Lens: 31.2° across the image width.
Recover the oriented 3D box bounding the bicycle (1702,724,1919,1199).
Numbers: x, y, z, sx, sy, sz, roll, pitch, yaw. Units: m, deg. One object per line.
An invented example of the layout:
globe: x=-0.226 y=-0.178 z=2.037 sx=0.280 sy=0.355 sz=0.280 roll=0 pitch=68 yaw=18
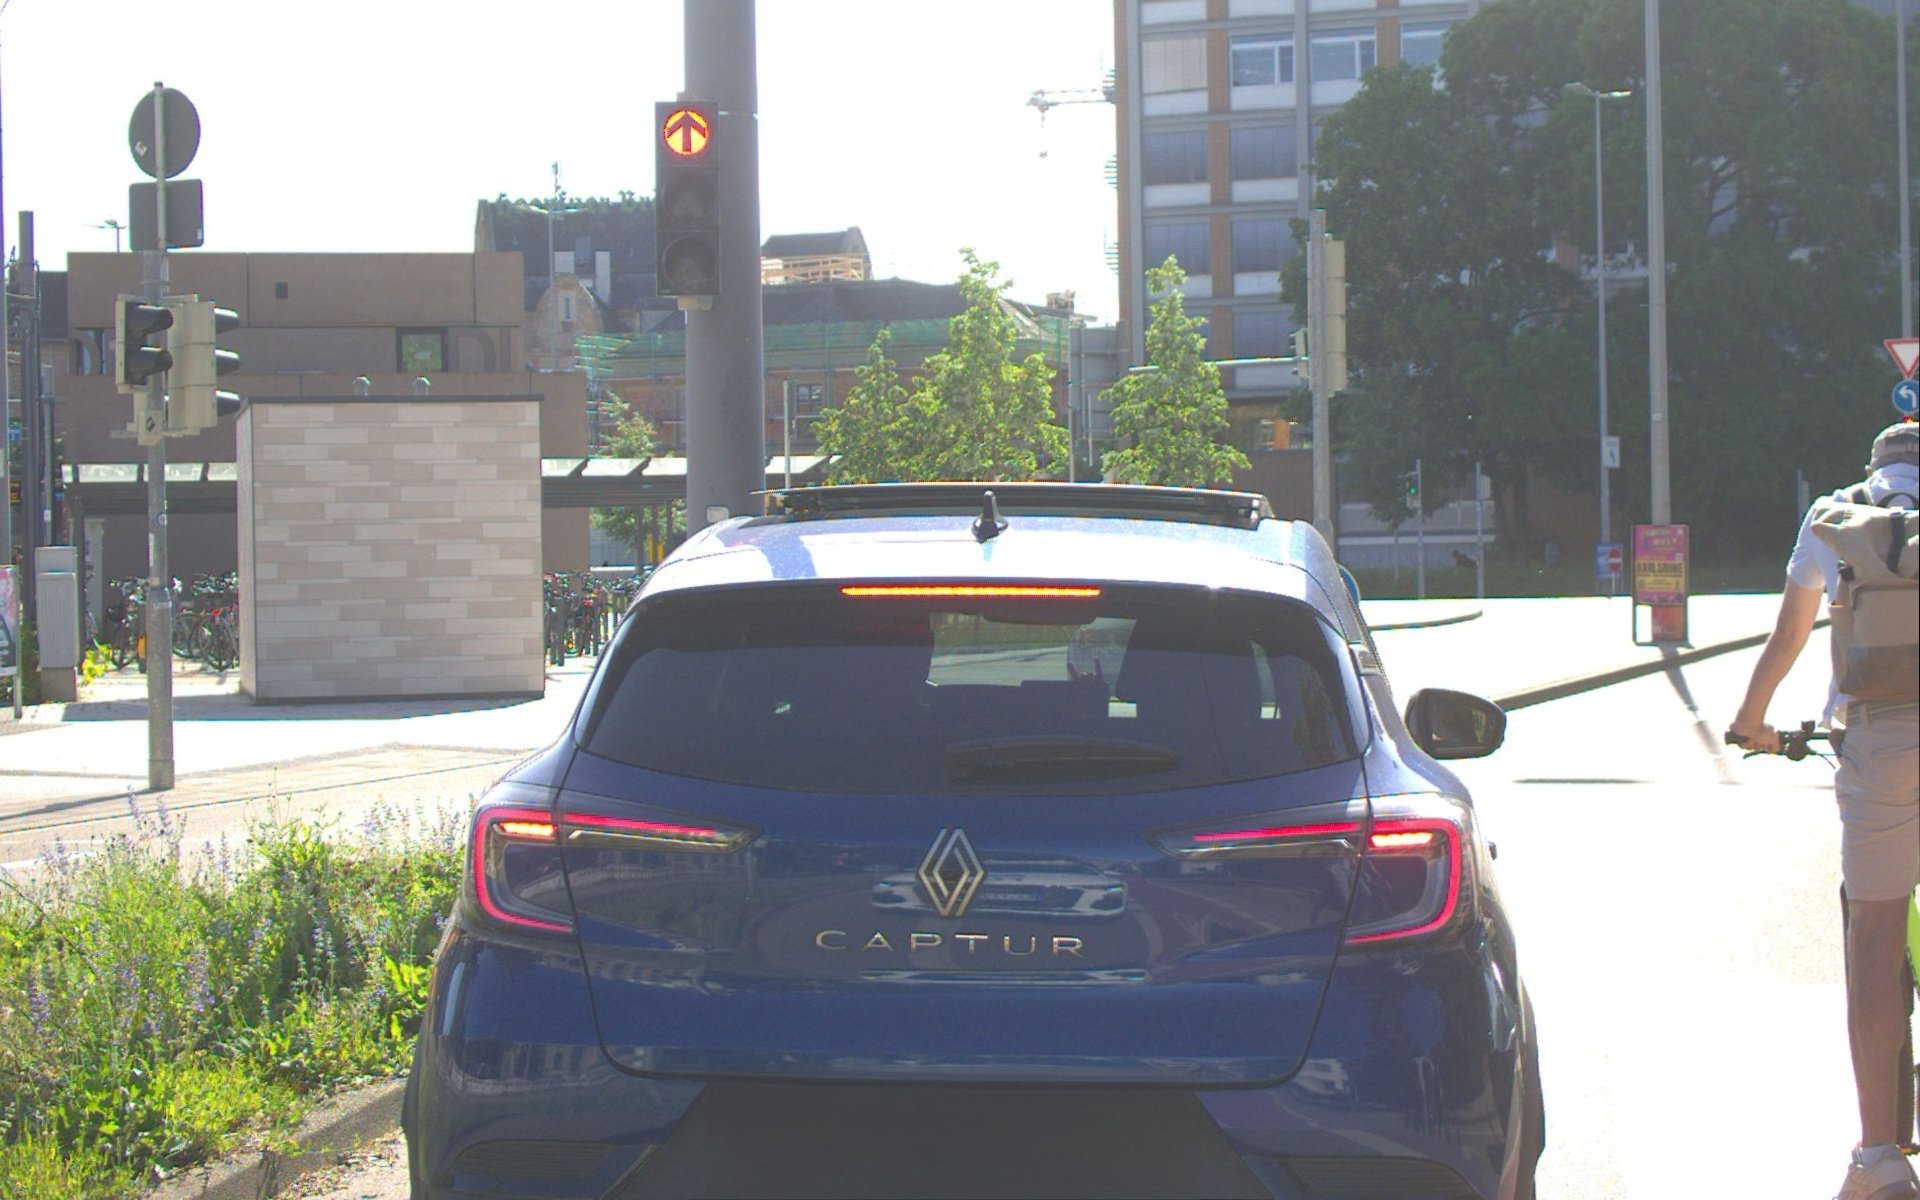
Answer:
bicycle: x=2.087 y=0.848 z=7.644 sx=0.663 sy=1.043 sz=1.890 roll=0 pitch=1 yaw=6

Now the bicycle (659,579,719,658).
bicycle: x=-3.412 y=0.229 z=43.124 sx=0.580 sy=0.958 sz=2.059 roll=0 pitch=0 yaw=-9

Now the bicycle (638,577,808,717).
bicycle: x=-1.912 y=0.362 z=28.060 sx=0.773 sy=1.077 sz=2.034 roll=-1 pitch=0 yaw=14

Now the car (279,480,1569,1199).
car: x=0.095 y=0.604 z=6.687 sx=1.823 sy=1.594 sz=3.658 roll=1 pitch=1 yaw=5

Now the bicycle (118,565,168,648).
bicycle: x=-10.906 y=0.092 z=45.911 sx=0.565 sy=1.090 sz=2.030 roll=0 pitch=0 yaw=-11

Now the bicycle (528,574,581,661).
bicycle: x=-5.040 y=0.222 z=42.662 sx=0.580 sy=1.054 sz=1.817 roll=0 pitch=0 yaw=-9

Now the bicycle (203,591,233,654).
bicycle: x=-11.356 y=0.344 z=52.656 sx=0.421 sy=0.934 sz=1.379 roll=1 pitch=0 yaw=-11

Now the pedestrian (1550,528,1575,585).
pedestrian: x=17.861 y=-1.284 z=101.956 sx=0.561 sy=1.664 sz=0.475 roll=0 pitch=-1 yaw=37

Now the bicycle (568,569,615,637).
bicycle: x=-6.027 y=0.050 z=56.170 sx=0.580 sy=1.084 sz=1.872 roll=0 pitch=0 yaw=-11

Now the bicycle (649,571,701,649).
bicycle: x=-4.054 y=0.141 z=48.768 sx=0.580 sy=1.084 sz=2.059 roll=0 pitch=0 yaw=-9

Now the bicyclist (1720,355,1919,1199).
bicyclist: x=2.073 y=0.358 z=7.586 sx=0.664 sy=1.741 sz=1.005 roll=0 pitch=1 yaw=7

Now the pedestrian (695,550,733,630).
pedestrian: x=-5.684 y=-0.224 z=79.493 sx=0.726 sy=1.850 sz=0.702 roll=0 pitch=0 yaw=8

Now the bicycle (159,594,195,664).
bicycle: x=-10.857 y=0.397 z=47.633 sx=0.421 sy=0.934 sz=1.306 roll=1 pitch=0 yaw=-15

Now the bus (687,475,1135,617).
bus: x=-1.426 y=-1.272 z=86.779 sx=12.434 sy=3.384 sz=2.876 roll=0 pitch=0 yaw=40

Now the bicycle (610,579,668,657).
bicycle: x=-4.024 y=0.227 z=43.037 sx=0.580 sy=0.958 sz=2.059 roll=0 pitch=0 yaw=-9

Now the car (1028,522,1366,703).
car: x=2.161 y=0.070 z=30.224 sx=1.802 sy=1.388 sz=4.089 roll=-1 pitch=2 yaw=21

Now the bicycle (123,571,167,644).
bicycle: x=-12.379 y=0.117 z=52.220 sx=0.565 sy=1.090 sz=2.030 roll=0 pitch=0 yaw=-11

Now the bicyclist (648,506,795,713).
bicyclist: x=-1.938 y=0.073 z=28.053 sx=0.880 sy=1.639 sz=1.060 roll=-1 pitch=0 yaw=14

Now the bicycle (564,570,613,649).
bicycle: x=-5.264 y=0.137 z=48.696 sx=0.580 sy=1.084 sz=2.059 roll=0 pitch=0 yaw=-9
